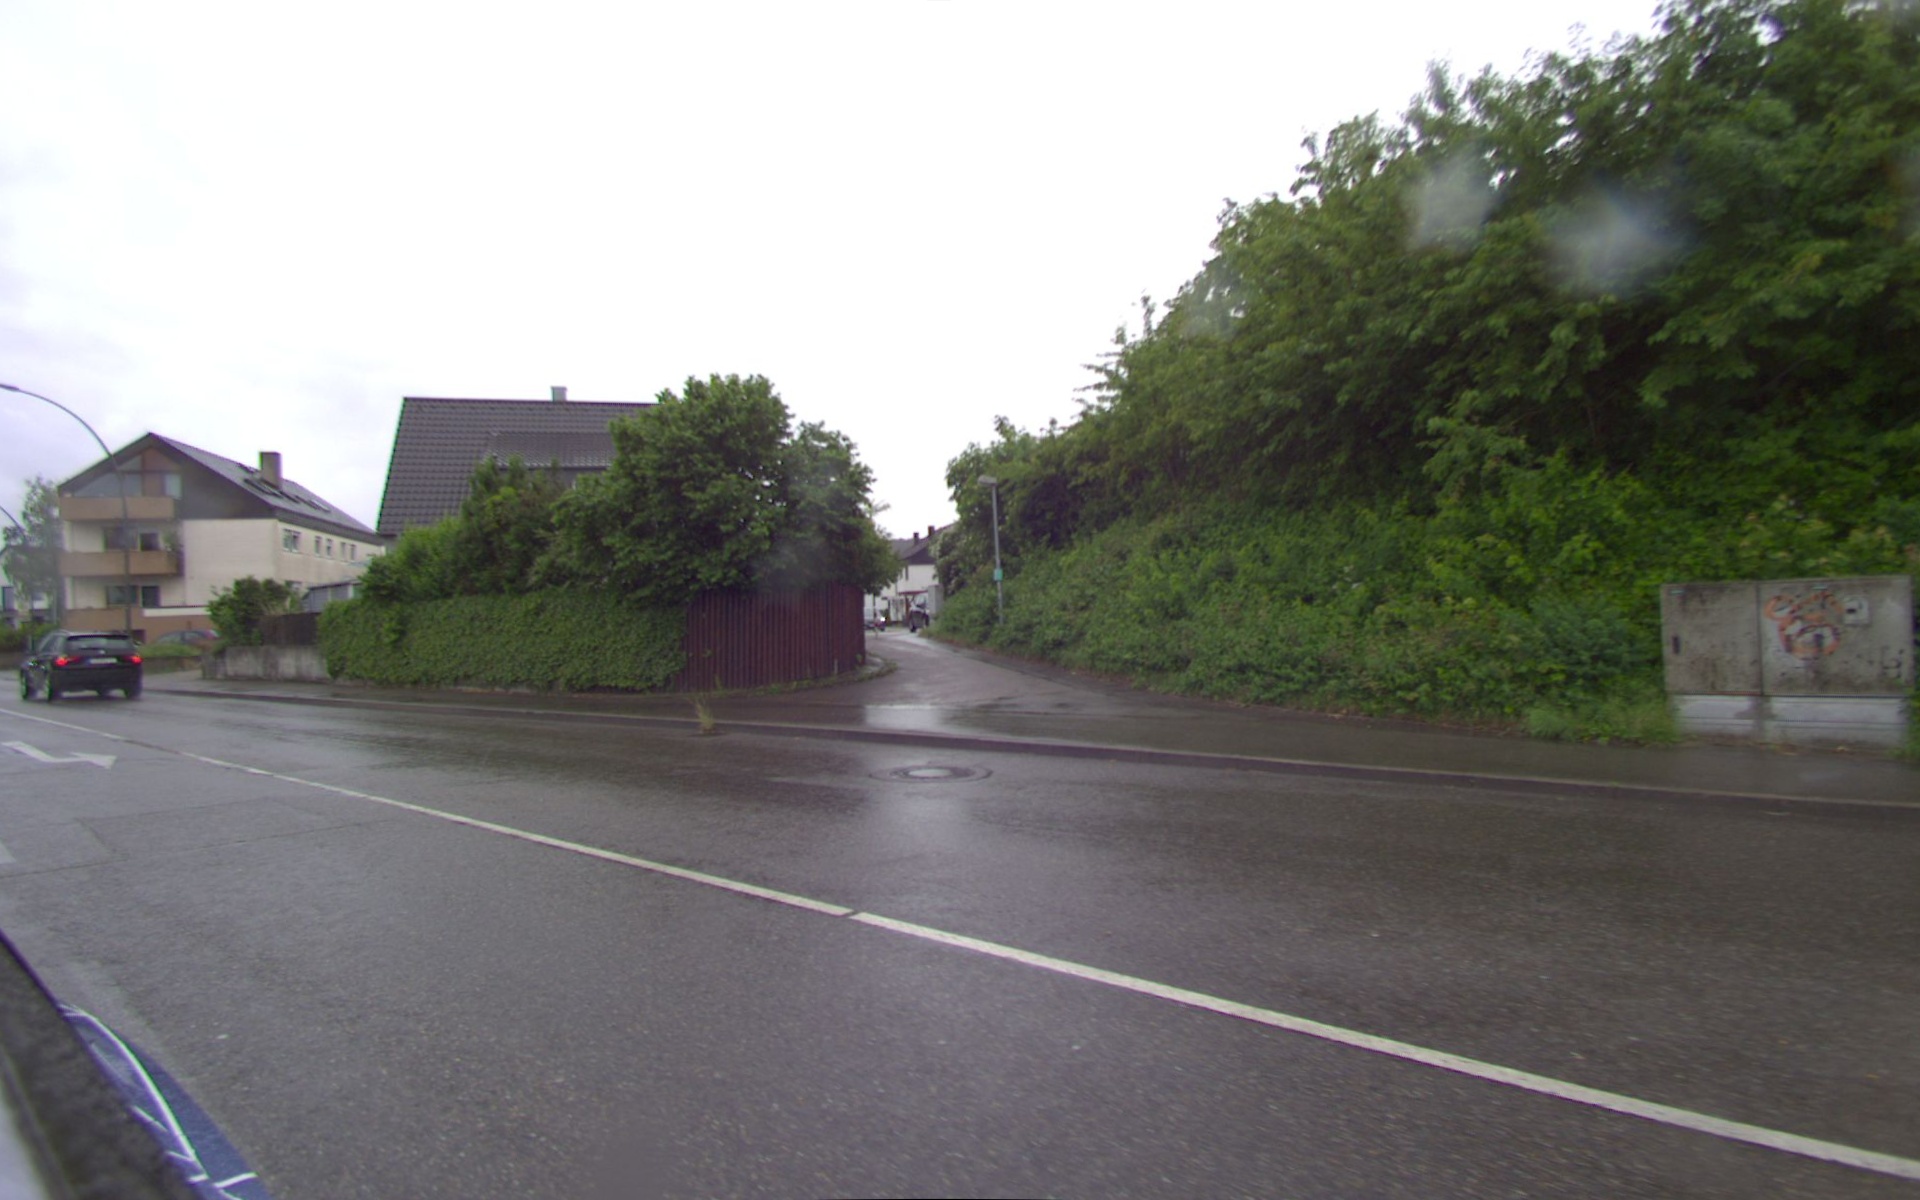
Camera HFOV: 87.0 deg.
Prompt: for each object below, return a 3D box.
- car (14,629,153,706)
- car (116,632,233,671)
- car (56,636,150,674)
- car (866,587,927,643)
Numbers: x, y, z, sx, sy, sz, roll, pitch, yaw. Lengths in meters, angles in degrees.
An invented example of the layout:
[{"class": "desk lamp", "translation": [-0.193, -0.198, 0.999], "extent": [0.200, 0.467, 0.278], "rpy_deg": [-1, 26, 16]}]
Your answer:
[{"class": "car", "translation": [-21.728, 1.593, 25.033], "extent": [4.413, 1.680, 1.973], "rpy_deg": [-2, -1, 41]}, {"class": "car", "translation": [-33.973, 2.206, 43.873], "extent": [3.609, 1.530, 1.759], "rpy_deg": [-1, -1, -13]}, {"class": "car", "translation": [-39.350, 2.480, 46.574], "extent": [1.837, 1.530, 4.012], "rpy_deg": [-1, -1, -16]}, {"class": "car", "translation": [-2.049, 0.461, 31.642], "extent": [1.684, 1.600, 3.667], "rpy_deg": [-1, -1, -7]}]
